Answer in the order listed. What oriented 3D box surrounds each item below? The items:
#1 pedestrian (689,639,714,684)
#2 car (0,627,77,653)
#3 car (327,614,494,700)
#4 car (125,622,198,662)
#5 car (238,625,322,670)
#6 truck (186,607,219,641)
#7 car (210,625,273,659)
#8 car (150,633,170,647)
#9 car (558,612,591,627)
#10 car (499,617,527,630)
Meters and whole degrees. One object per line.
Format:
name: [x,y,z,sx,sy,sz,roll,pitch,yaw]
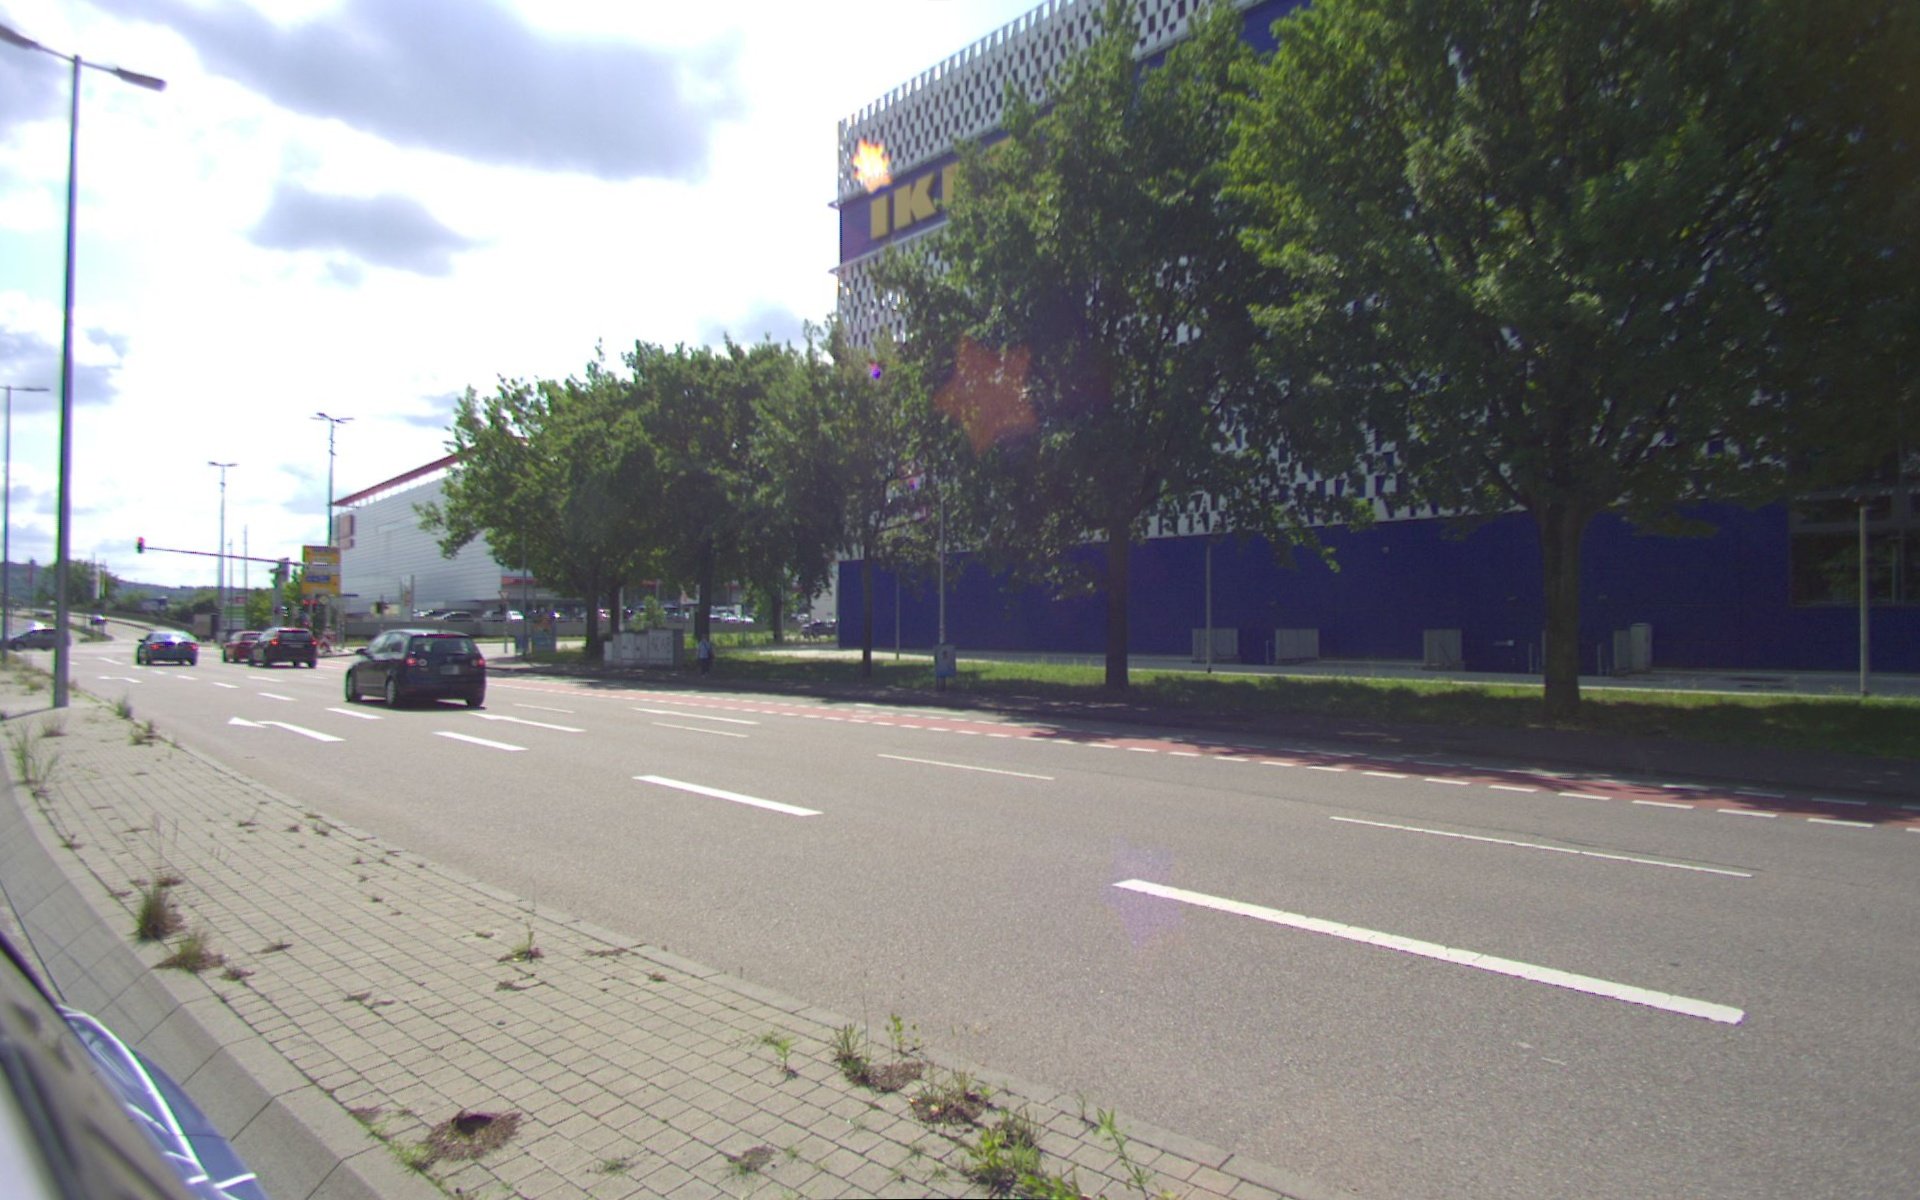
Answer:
pedestrian: [-9.000,2.129,35.234,0.497,1.567,0.761,1,-2,-45]
car: [-57.111,2.459,62.019,1.595,1.542,4.241,-1,-2,19]
car: [-11.552,1.180,21.160,4.241,1.622,1.719,-2,-6,43]
car: [-34.032,1.778,43.093,4.822,1.560,1.753,-2,-5,44]
car: [-28.895,2.007,42.936,4.822,1.769,1.906,-2,-5,44]
truck: [-98.034,3.197,131.063,3.170,4.058,9.091,-1,-3,-36]
car: [-33.929,1.979,47.754,1.667,1.494,4.127,4,-4,-45]
car: [-95.488,4.775,120.799,1.751,1.489,4.687,0,-3,-39]
car: [-48.284,2.469,126.785,4.179,1.763,1.894,-4,-3,35]
car: [-57.082,2.980,129.149,1.926,1.482,4.426,0,-3,-44]
